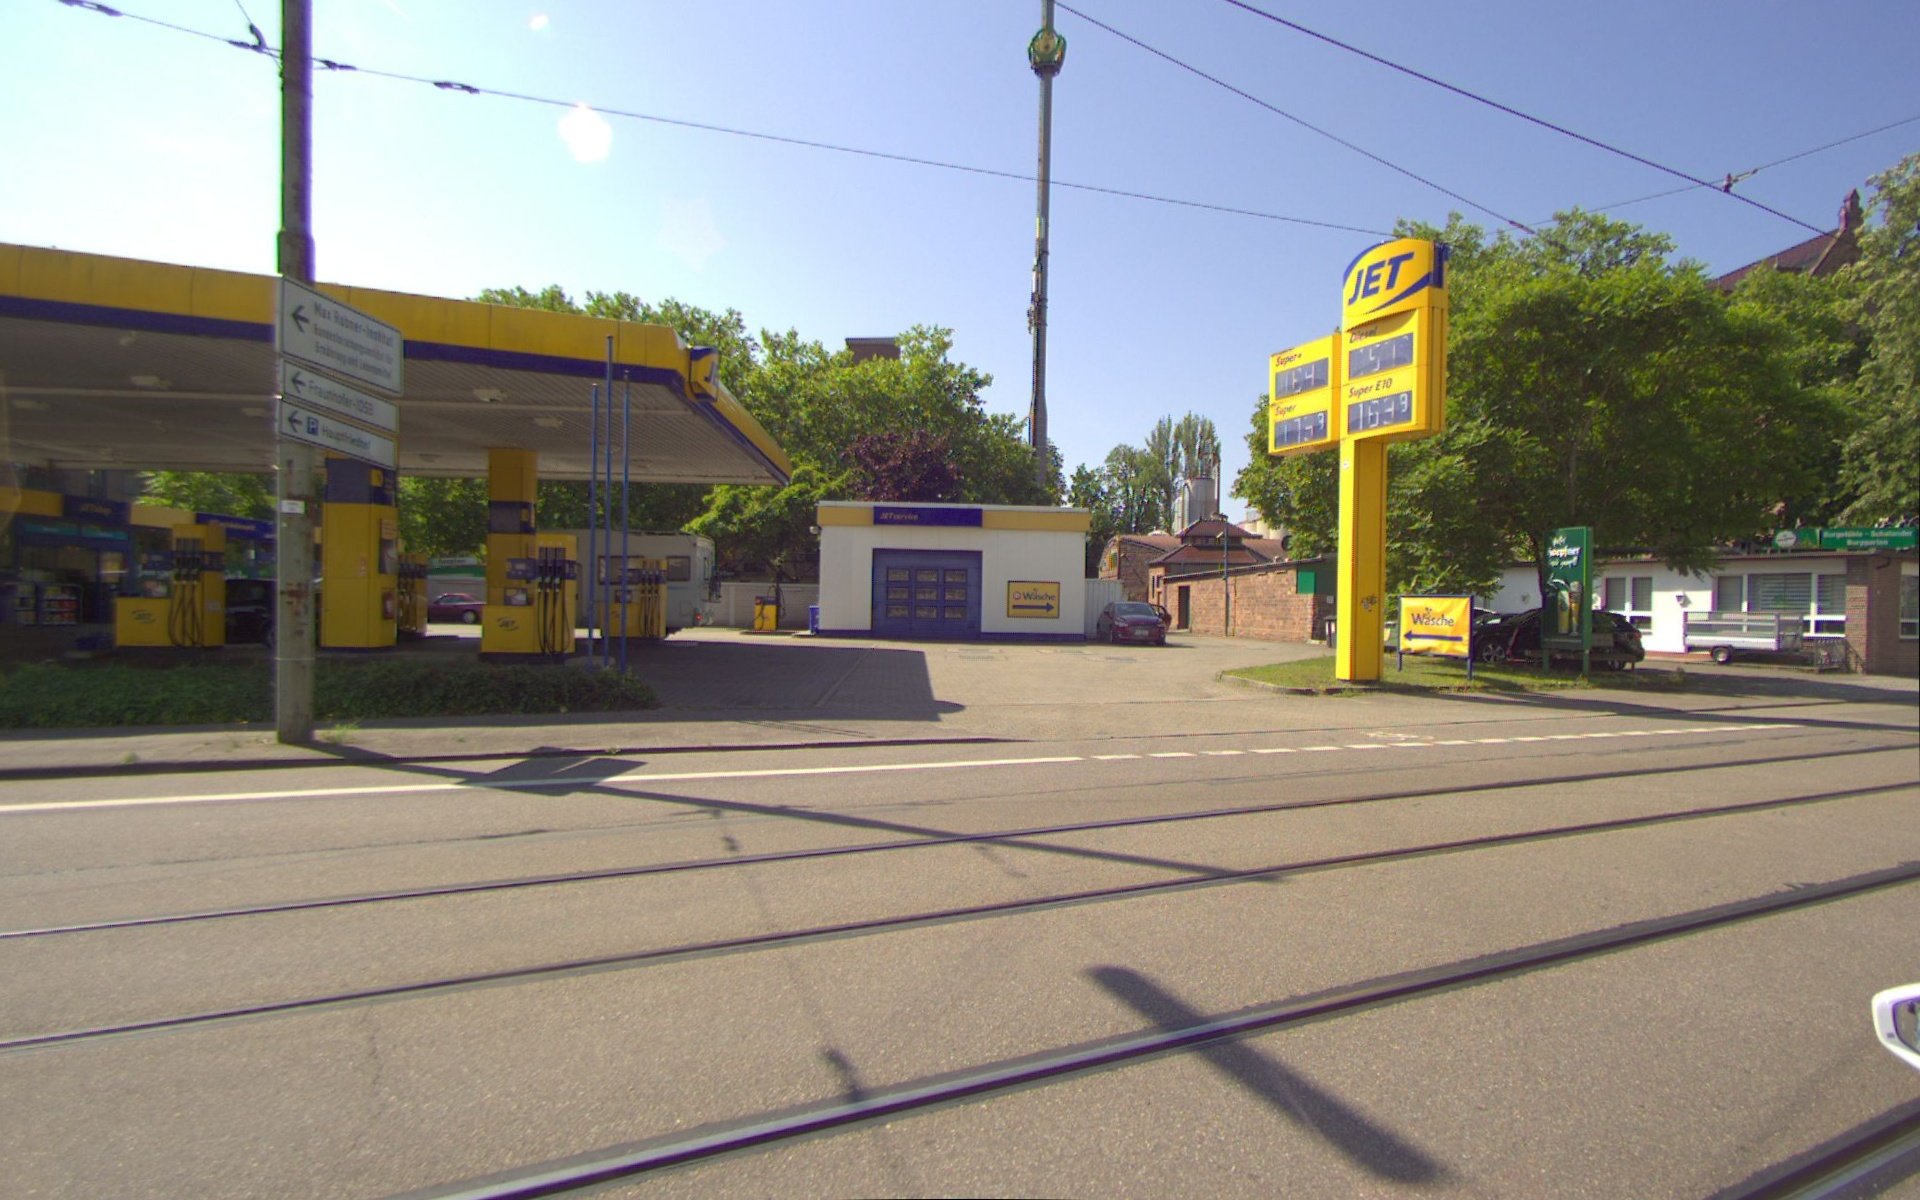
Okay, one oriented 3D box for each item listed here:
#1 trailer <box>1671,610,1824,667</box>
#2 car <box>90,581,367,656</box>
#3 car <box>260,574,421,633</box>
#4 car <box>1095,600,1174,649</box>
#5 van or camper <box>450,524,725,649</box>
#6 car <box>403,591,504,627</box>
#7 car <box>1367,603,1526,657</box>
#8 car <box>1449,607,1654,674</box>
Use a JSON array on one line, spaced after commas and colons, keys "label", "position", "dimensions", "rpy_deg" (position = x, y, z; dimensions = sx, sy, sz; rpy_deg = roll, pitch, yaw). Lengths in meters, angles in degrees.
[{"label": "trailer", "position": [23.692, 1.135, 30.328], "dimensions": [1.754, 1.546, 3.205], "rpy_deg": [1, 0, -25]}, {"label": "car", "position": [-14.753, 0.342, 20.425], "dimensions": [4.305, 1.321, 1.701], "rpy_deg": [2, 2, -2]}, {"label": "car", "position": [-21.576, 0.093, 35.106], "dimensions": [4.388, 1.786, 1.778], "rpy_deg": [3, 2, -4]}, {"label": "car", "position": [5.953, 0.806, 34.790], "dimensions": [1.899, 1.547, 4.171], "rpy_deg": [2, 0, -1]}, {"label": "van or camper", "position": [-10.152, -0.396, 27.895], "dimensions": [6.584, 3.007, 2.614], "rpy_deg": [3, 2, -4]}, {"label": "car", "position": [-21.884, 0.384, 43.497], "dimensions": [3.496, 1.479, 1.739], "rpy_deg": [1, 0, -7]}, {"label": "car", "position": [15.976, 0.943, 33.258], "dimensions": [4.487, 1.604, 1.950], "rpy_deg": [1, 0, 18]}, {"label": "car", "position": [16.088, 1.060, 27.585], "dimensions": [4.487, 1.647, 1.950], "rpy_deg": [1, 0, 18]}]
